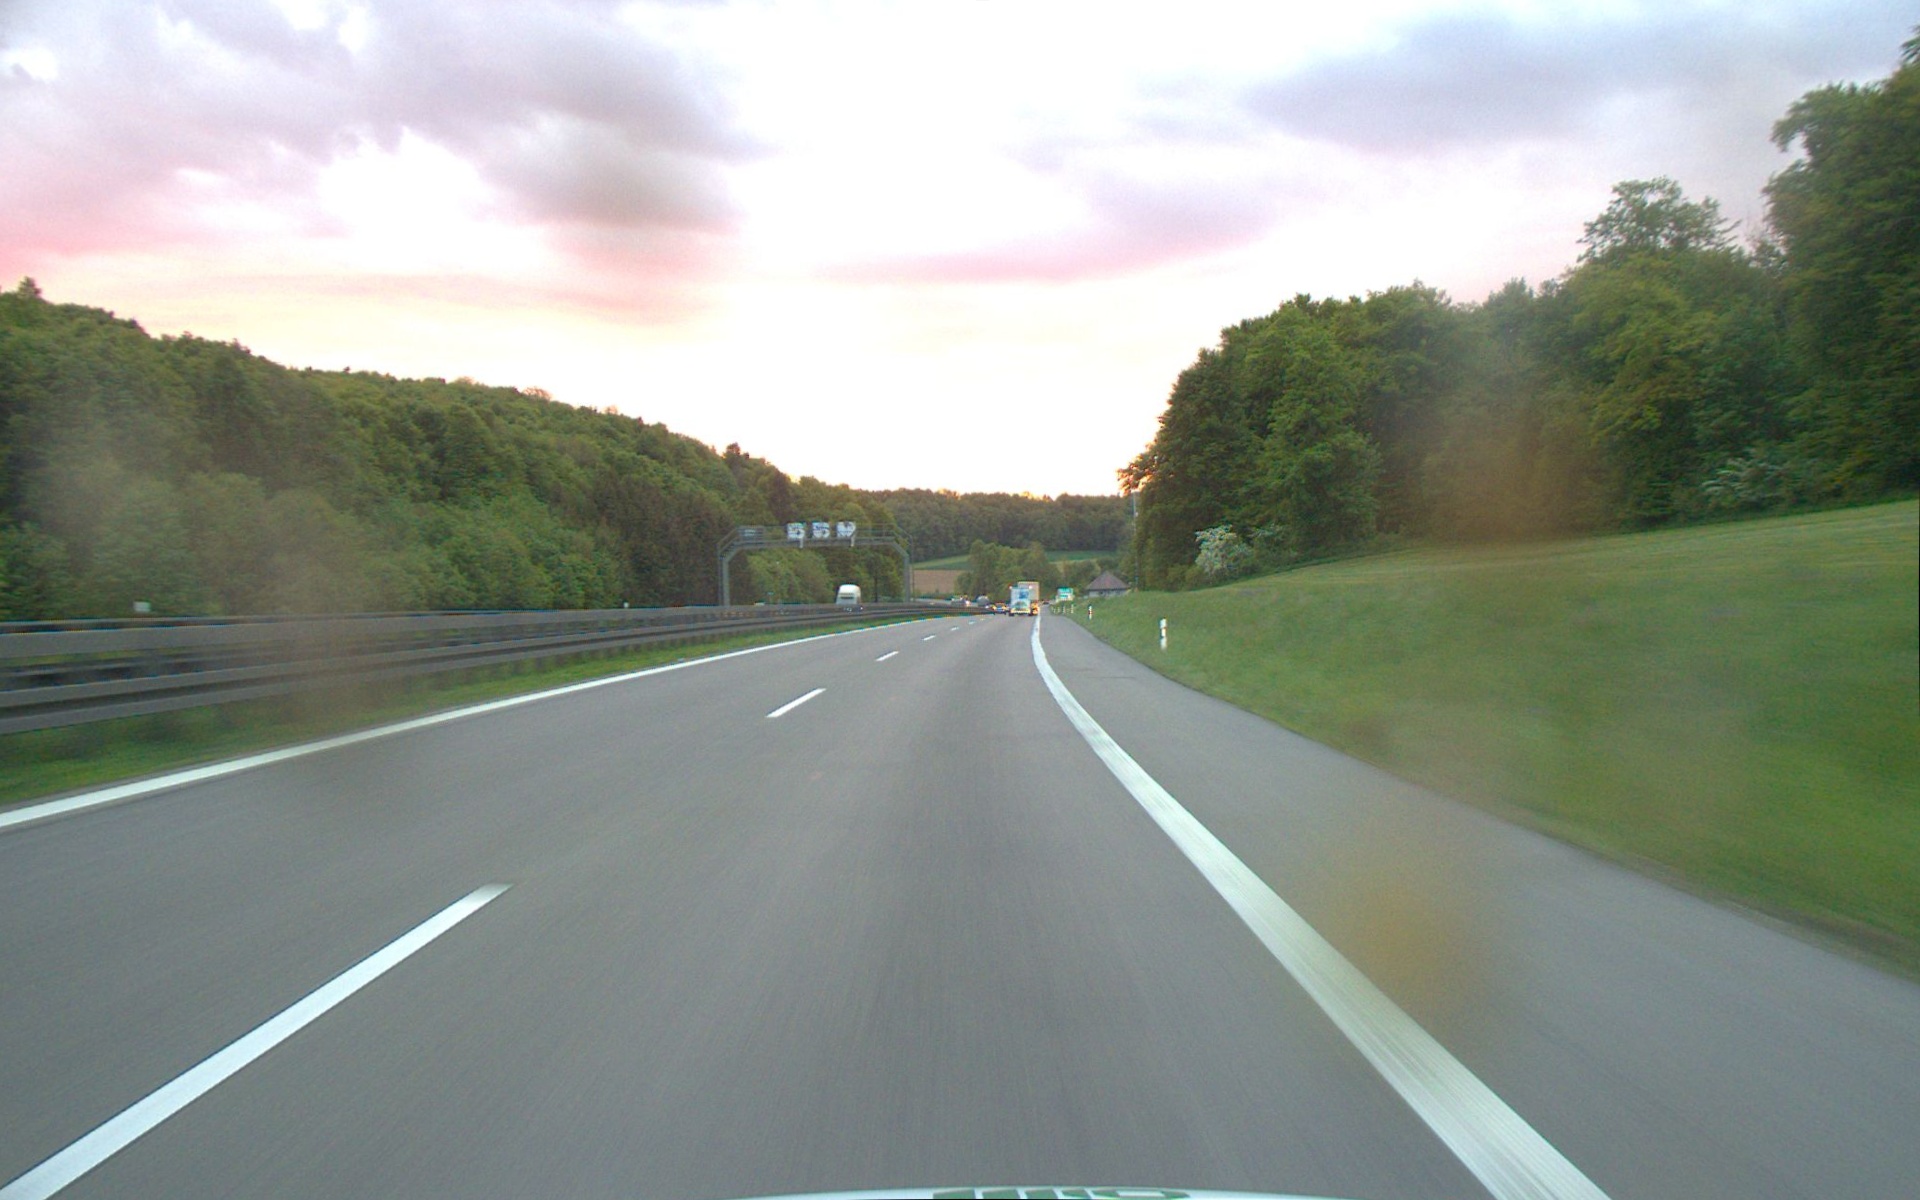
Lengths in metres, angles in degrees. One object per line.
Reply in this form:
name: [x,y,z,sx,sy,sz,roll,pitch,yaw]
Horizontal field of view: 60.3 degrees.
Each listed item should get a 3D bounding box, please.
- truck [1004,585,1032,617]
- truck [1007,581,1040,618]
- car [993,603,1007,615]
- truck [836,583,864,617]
truck: [5.435,0.081,154.054,2.228,2.711,5.241,-2,2,6]
truck: [7.920,-0.126,205.991,3.876,4.361,14.328,-1,1,2]
car: [5.483,1.168,227.127,1.952,1.543,4.001,-1,1,2]
truck: [-10.039,-0.019,151.258,1.952,3.121,5.596,0,0,2]
